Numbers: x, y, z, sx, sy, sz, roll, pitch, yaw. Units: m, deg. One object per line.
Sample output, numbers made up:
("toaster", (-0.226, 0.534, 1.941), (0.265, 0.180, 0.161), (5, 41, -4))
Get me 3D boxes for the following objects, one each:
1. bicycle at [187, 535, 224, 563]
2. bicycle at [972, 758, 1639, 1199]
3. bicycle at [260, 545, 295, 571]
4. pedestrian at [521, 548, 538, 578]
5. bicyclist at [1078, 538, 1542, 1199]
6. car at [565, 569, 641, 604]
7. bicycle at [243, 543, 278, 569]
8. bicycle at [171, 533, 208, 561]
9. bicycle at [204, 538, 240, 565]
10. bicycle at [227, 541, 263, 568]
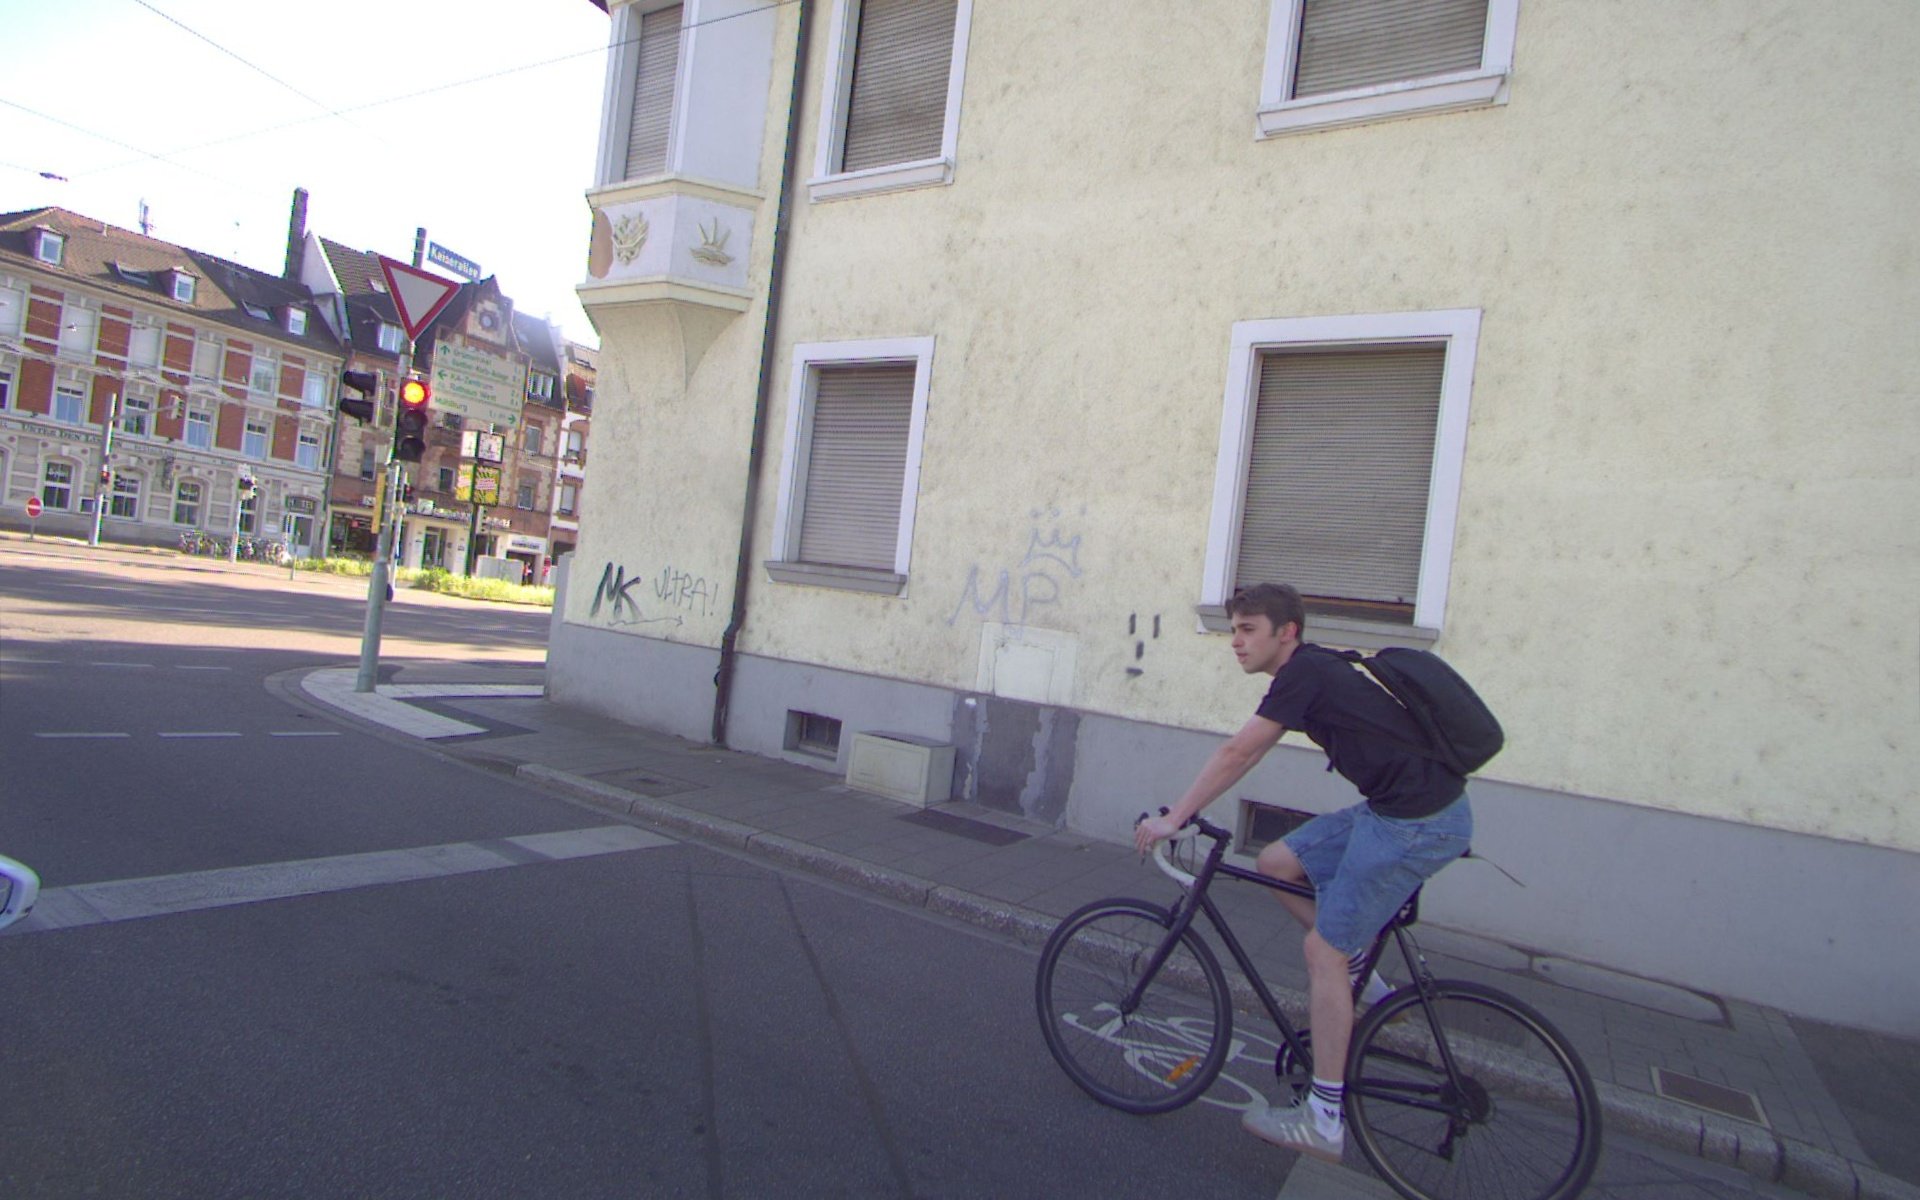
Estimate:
("bicycle", (-34.642, -2.332, 46.192), (1.614, 1.064, 0.606), (7, 0, 27))
("bicycle", (0.981, 1.171, 3.133), (1.727, 1.029, 0.533), (7, 0, 27))
("bicycle", (-32.977, -2.016, 48.585), (1.614, 1.064, 0.606), (7, 0, 27))
("pedestrian", (-27.321, -2.331, 63.812), (0.414, 1.773, 0.709), (7, 0, 33))
("bicyclist", (1.064, 0.757, 3.112), (1.065, 1.751, 0.561), (7, -1, 27))
("car", (-23.119, -0.867, 65.306), (1.966, 1.674, 4.378), (7, -1, 29))
("bicycle", (-33.351, -2.091, 47.948), (1.614, 1.064, 0.606), (7, 0, 27))
("bicycle", (-34.942, -2.394, 45.609), (1.614, 1.064, 0.606), (7, 0, 27))
("bicycle", (-34.312, -2.265, 46.767), (1.614, 1.064, 0.606), (7, 0, 27))
("bicycle", (-33.645, -2.154, 47.338), (1.614, 1.064, 0.606), (7, 0, 27))
